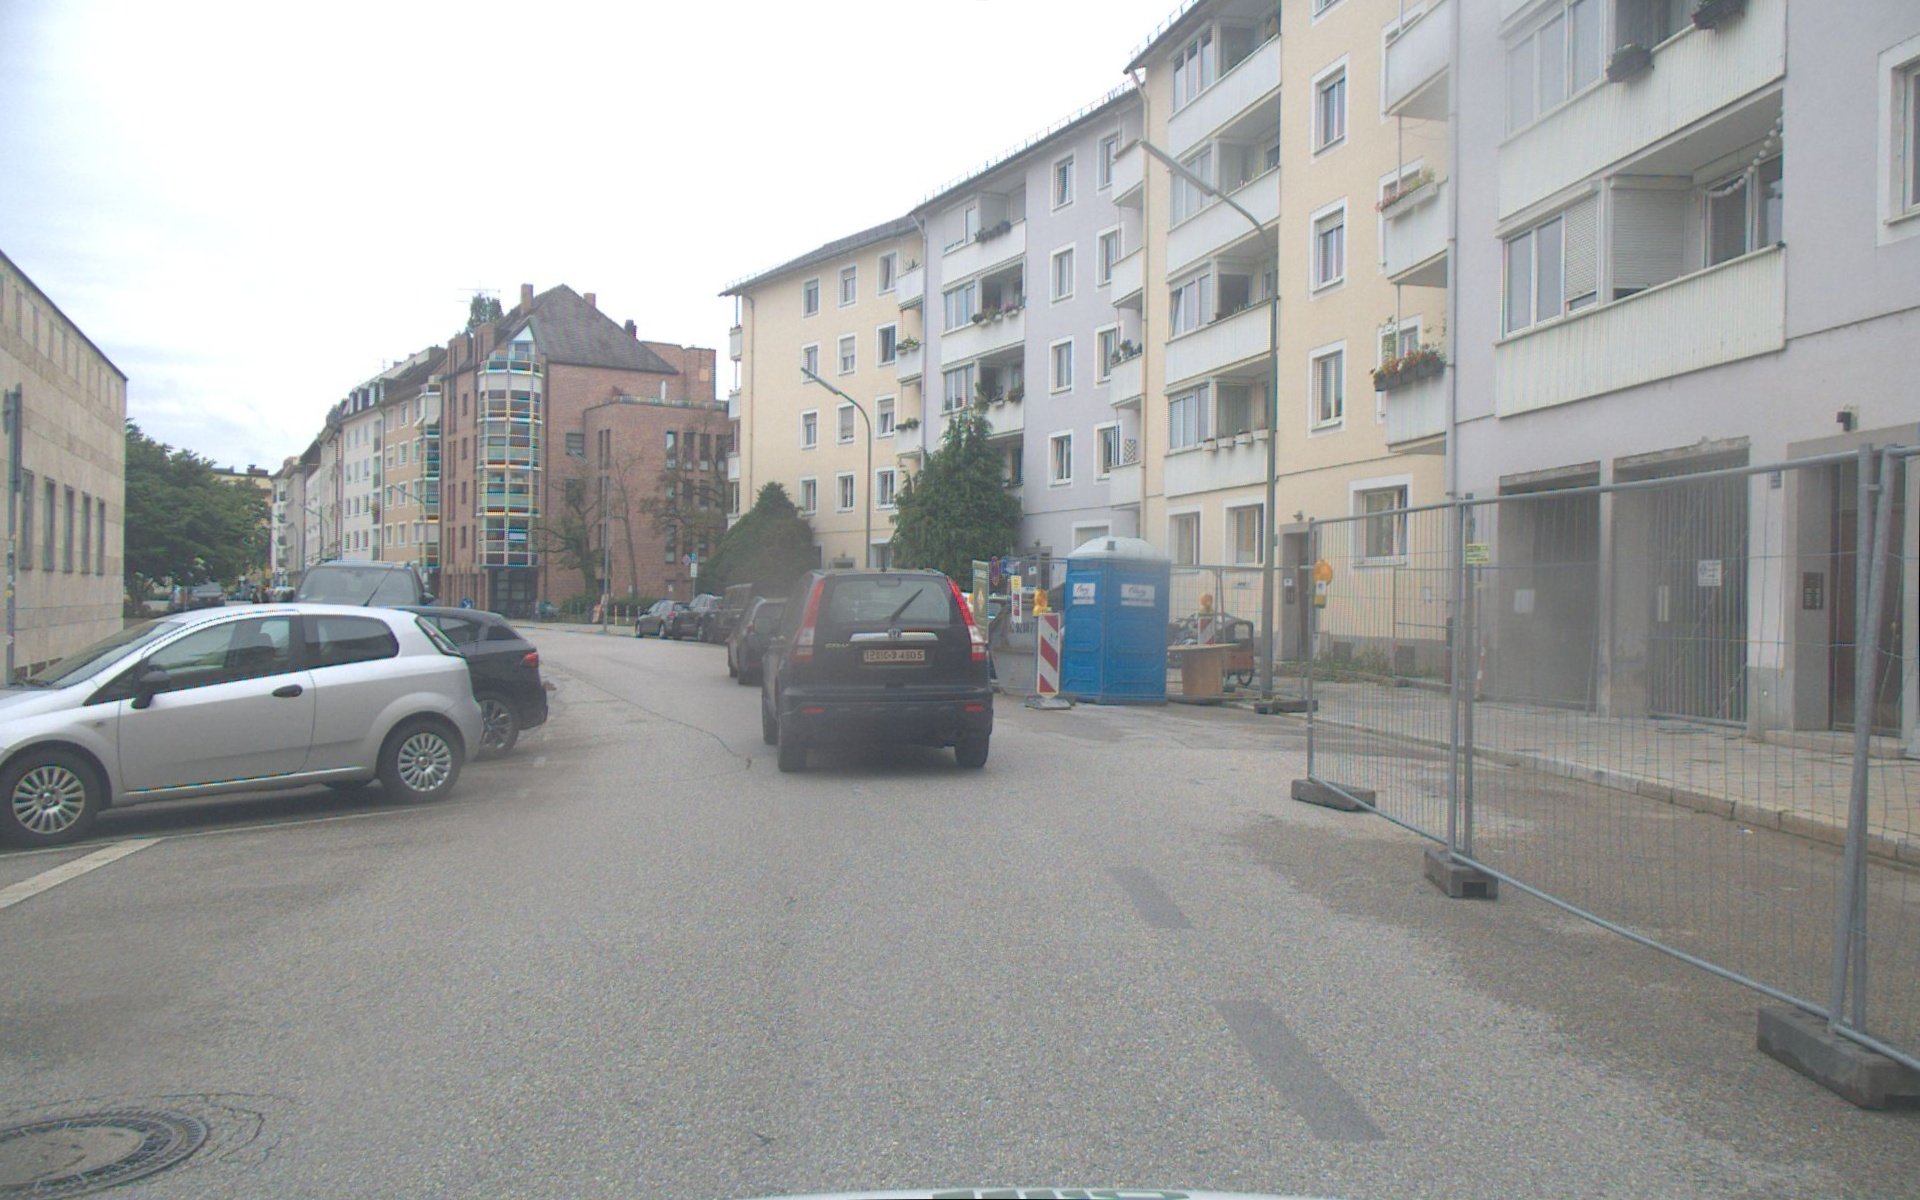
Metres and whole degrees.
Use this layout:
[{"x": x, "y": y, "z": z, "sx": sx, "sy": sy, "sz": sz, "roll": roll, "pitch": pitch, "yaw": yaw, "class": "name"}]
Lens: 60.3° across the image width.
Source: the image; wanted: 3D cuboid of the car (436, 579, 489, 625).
[{"x": -22.470, "y": 0.086, "z": 74.593, "sx": 1.689, "sy": 1.980, "sz": 3.967, "roll": 1, "pitch": 0, "yaw": -26, "class": "car"}]

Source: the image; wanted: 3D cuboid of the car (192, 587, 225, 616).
[{"x": -48.325, "y": 0.057, "z": 106.328, "sx": 1.893, "sy": 1.777, "sz": 4.740, "roll": 1, "pitch": 0, "yaw": -25, "class": "car"}]

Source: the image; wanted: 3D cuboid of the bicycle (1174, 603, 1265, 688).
[{"x": 4.628, "y": 0.784, "z": 29.677, "sx": 0.950, "sy": 1.413, "sz": 2.560, "roll": 1, "pitch": 0, "yaw": -6, "class": "bicycle"}]

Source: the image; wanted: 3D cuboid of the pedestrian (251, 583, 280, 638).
[{"x": -22.540, "y": 0.342, "z": 53.686, "sx": 0.739, "sy": 1.732, "sz": 0.922, "roll": 2, "pitch": 0, "yaw": -19, "class": "pedestrian"}]

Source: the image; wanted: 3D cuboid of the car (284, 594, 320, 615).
[{"x": -51.077, "y": 0.373, "z": 128.331, "sx": 1.791, "sy": 1.498, "sz": 4.070, "roll": 1, "pitch": 1, "yaw": -33, "class": "car"}]

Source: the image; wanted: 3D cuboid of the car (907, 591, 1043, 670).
[{"x": 0.249, "y": 0.617, "z": 35.280, "sx": 1.698, "sy": 1.509, "sz": 3.979, "roll": 1, "pitch": 0, "yaw": -18, "class": "car"}]

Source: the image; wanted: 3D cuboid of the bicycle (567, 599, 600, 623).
[{"x": -21.215, "y": 0.606, "z": 93.204, "sx": 1.729, "sy": 1.311, "sz": 0.549, "roll": 1, "pitch": 0, "yaw": -22, "class": "bicycle"}]

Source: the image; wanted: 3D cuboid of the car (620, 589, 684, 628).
[{"x": -12.166, "y": 0.331, "z": 65.225, "sx": 1.675, "sy": 1.413, "sz": 3.575, "roll": 1, "pitch": 0, "yaw": -24, "class": "car"}]

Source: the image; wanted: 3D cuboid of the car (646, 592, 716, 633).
[{"x": -10.383, "y": 0.442, "z": 61.408, "sx": 1.675, "sy": 1.413, "sz": 3.575, "roll": 1, "pitch": 0, "yaw": -24, "class": "car"}]

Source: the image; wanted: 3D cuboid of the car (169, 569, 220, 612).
[{"x": -33.068, "y": -0.427, "z": 71.476, "sx": 1.893, "sy": 1.777, "sz": 4.740, "roll": 1, "pitch": 0, "yaw": -25, "class": "car"}]

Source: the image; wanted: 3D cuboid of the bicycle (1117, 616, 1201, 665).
[{"x": 4.623, "y": 0.943, "z": 38.423, "sx": 1.833, "sy": 1.110, "sz": 0.564, "roll": 1, "pitch": 0, "yaw": -13, "class": "bicycle"}]

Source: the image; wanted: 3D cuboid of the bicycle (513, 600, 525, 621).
[{"x": -27.581, "y": 0.660, "z": 103.416, "sx": 0.543, "sy": 1.311, "sz": 1.749, "roll": 1, "pitch": 0, "yaw": -20, "class": "bicycle"}]

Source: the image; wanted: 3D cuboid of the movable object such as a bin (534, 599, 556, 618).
[{"x": -24.636, "y": 0.492, "z": 98.066, "sx": 0.953, "sy": 1.104, "sz": 1.970, "roll": 1, "pitch": 0, "yaw": -23, "class": "movable object such as a bin"}]

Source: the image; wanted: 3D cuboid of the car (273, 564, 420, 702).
[{"x": -8.522, "y": 0.416, "z": 23.258, "sx": 1.652, "sy": 1.737, "sz": 4.491, "roll": 1, "pitch": 0, "yaw": -17, "class": "car"}]

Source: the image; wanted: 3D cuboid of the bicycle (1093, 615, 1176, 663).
[{"x": 4.135, "y": 0.926, "z": 39.185, "sx": 1.833, "sy": 1.110, "sz": 0.644, "roll": 1, "pitch": 0, "yaw": -13, "class": "bicycle"}]

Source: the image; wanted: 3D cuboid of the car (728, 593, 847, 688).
[{"x": -3.057, "y": 0.653, "z": 28.734, "sx": 1.649, "sy": 1.507, "sz": 4.074, "roll": 1, "pitch": 0, "yaw": -12, "class": "car"}]

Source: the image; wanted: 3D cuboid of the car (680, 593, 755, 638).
[{"x": -8.455, "y": 0.518, "z": 57.449, "sx": 1.675, "sy": 1.413, "sz": 3.575, "roll": 1, "pitch": 0, "yaw": -24, "class": "car"}]

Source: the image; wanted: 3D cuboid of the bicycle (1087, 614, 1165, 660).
[{"x": 4.133, "y": 0.920, "z": 41.238, "sx": 1.833, "sy": 1.110, "sz": 0.644, "roll": 1, "pitch": 0, "yaw": -13, "class": "bicycle"}]

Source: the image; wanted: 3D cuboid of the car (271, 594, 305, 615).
[{"x": -53.861, "y": 0.353, "z": 132.563, "sx": 1.791, "sy": 1.498, "sz": 4.070, "roll": 1, "pitch": 1, "yaw": -33, "class": "car"}]

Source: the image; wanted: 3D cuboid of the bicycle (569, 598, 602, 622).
[{"x": -20.982, "y": 0.586, "z": 92.581, "sx": 1.729, "sy": 1.311, "sz": 0.549, "roll": 1, "pitch": 0, "yaw": -22, "class": "bicycle"}]

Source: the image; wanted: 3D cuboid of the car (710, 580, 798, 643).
[{"x": -6.675, "y": 0.338, "z": 53.359, "sx": 1.702, "sy": 1.910, "sz": 3.970, "roll": 1, "pitch": 0, "yaw": -24, "class": "car"}]

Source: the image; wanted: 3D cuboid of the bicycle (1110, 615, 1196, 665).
[{"x": 4.377, "y": 0.903, "z": 37.500, "sx": 1.833, "sy": 1.110, "sz": 0.564, "roll": 1, "pitch": 0, "yaw": -13, "class": "bicycle"}]

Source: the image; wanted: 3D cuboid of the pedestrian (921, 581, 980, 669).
[{"x": -0.196, "y": 0.501, "z": 33.479, "sx": 0.918, "sy": 1.733, "sz": 0.743, "roll": 1, "pitch": 0, "yaw": -39, "class": "pedestrian"}]

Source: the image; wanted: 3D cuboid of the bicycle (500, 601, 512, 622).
[{"x": -28.259, "y": 0.701, "z": 103.010, "sx": 0.543, "sy": 1.311, "sz": 1.749, "roll": 1, "pitch": 0, "yaw": -20, "class": "bicycle"}]

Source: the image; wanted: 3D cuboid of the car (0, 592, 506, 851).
[{"x": -5.510, "y": 0.799, "z": 11.777, "sx": 4.051, "sy": 1.507, "sz": 1.659, "roll": -2, "pitch": -1, "yaw": -42, "class": "car"}]

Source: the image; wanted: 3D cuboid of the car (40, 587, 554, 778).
[{"x": -5.946, "y": 0.673, "z": 15.086, "sx": 4.048, "sy": 1.507, "sz": 1.660, "roll": 1, "pitch": 0, "yaw": -40, "class": "car"}]

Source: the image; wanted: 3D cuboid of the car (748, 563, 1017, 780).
[{"x": -0.838, "y": 0.554, "z": 14.876, "sx": 1.857, "sy": 1.676, "sz": 3.981, "roll": 1, "pitch": 0, "yaw": -11, "class": "car"}]
